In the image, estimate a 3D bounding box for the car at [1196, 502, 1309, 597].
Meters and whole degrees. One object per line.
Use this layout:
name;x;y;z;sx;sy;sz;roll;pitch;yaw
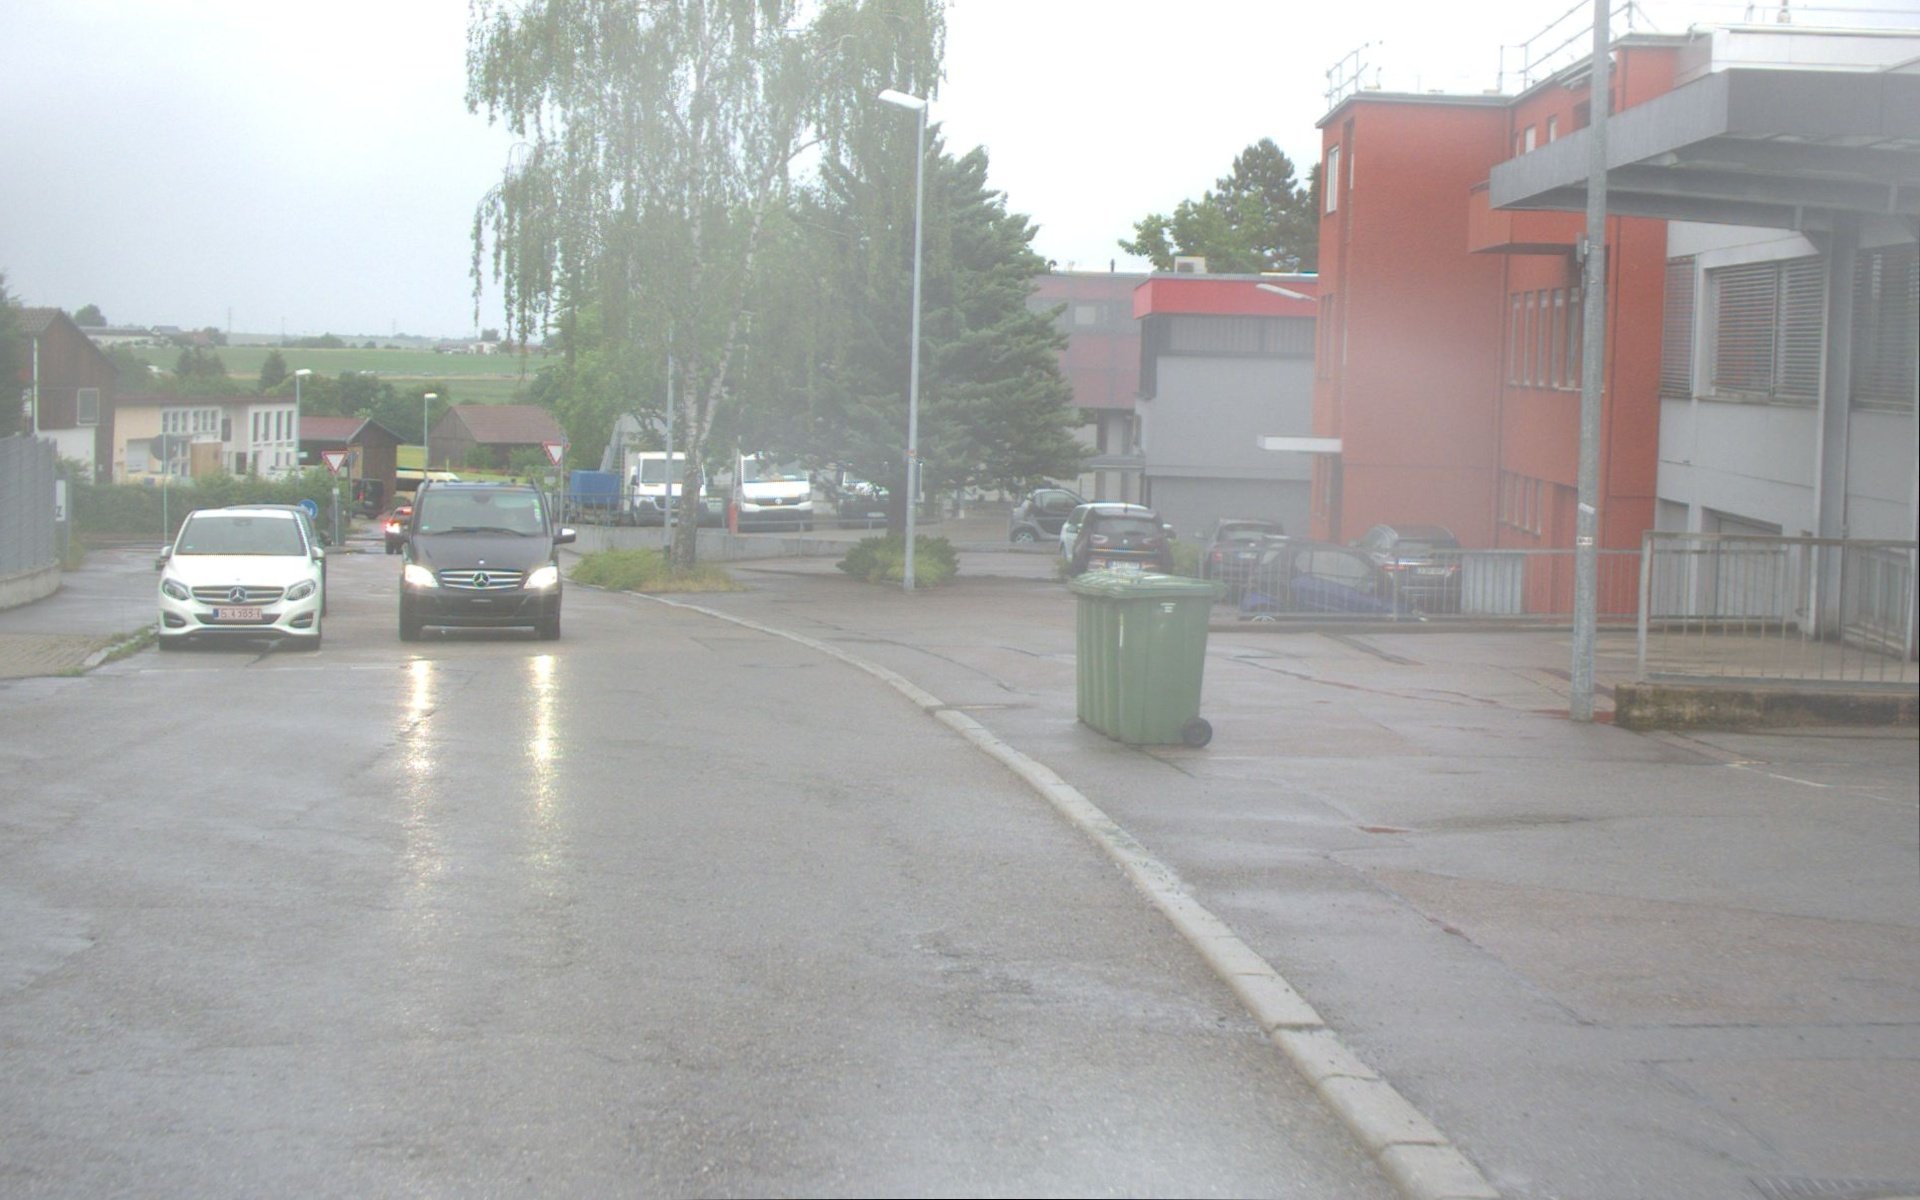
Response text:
car;5.322;-0.908;63.028;1.739;1.648;4.000;1;0;1

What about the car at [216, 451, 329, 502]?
car;-27.003;-4.845;135.189;3.987;1.875;2.000;1;1;1

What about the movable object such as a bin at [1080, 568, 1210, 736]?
movable object such as a bin;1.214;0.336;22.650;0.775;1.072;0.584;1;1;-4

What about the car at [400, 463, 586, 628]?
car;-5.637;-0.691;42.013;1.884;1.880;5.073;1;1;-4

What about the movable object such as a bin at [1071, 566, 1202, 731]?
movable object such as a bin;1.187;0.320;23.225;0.809;1.087;0.541;1;1;-4

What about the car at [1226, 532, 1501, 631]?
car;5.187;-0.252;44.527;3.401;1.159;1.792;1;1;3

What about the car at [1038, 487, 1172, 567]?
car;2.906;-1.458;69.873;2.064;1.547;4.001;1;0;-7

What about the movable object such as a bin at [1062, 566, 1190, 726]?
movable object such as a bin;1.145;0.312;23.785;0.808;1.073;0.582;1;1;-4

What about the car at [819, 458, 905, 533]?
car;-2.831;-2.968;98.386;2.145;2.007;3.940;1;0;-6

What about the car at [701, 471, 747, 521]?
car;-7.094;-3.097;103.103;1.290;1.419;2.547;1;0;-6

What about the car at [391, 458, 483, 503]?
car;-26.902;-6.136;176.821;4.241;2.218;1.999;1;0;7

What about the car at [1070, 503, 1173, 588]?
car;2.905;-0.975;62.400;1.697;1.470;4.000;1;0;1

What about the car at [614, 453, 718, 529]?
car;-8.319;-3.062;97.094;2.264;2.007;4.001;1;0;-14

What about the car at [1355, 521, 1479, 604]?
car;8.223;-0.670;62.129;1.729;1.417;4.000;1;0;1

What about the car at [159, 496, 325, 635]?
car;-8.200;-0.393;39.492;1.769;1.507;4.146;0;1;-11

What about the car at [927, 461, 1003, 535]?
car;0.126;-2.915;98.716;1.781;2.007;3.633;1;0;-6

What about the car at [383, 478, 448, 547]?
car;-16.801;-2.676;106.212;1.869;2.022;4.001;1;0;-8

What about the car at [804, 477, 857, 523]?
car;-3.931;-3.014;104.046;1.398;1.321;2.701;1;0;-6

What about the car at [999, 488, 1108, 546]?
car;2.290;-2.039;84.514;2.547;1.347;1.242;1;1;-4

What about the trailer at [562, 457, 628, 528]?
trailer;-10.760;-3.158;101.146;1.852;2.007;4.001;1;1;-7

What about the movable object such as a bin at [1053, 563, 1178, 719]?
movable object such as a bin;1.099;0.287;24.389;0.802;1.075;0.625;1;1;-4

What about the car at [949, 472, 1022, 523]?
car;0.755;-3.115;104.563;1.636;1.448;3.512;1;0;-9

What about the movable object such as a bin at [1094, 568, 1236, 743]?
movable object such as a bin;1.304;0.347;22.001;0.806;1.089;0.709;1;1;-4

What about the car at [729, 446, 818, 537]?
car;-5.304;-3.058;97.473;2.192;2.451;4.001;1;0;-7
